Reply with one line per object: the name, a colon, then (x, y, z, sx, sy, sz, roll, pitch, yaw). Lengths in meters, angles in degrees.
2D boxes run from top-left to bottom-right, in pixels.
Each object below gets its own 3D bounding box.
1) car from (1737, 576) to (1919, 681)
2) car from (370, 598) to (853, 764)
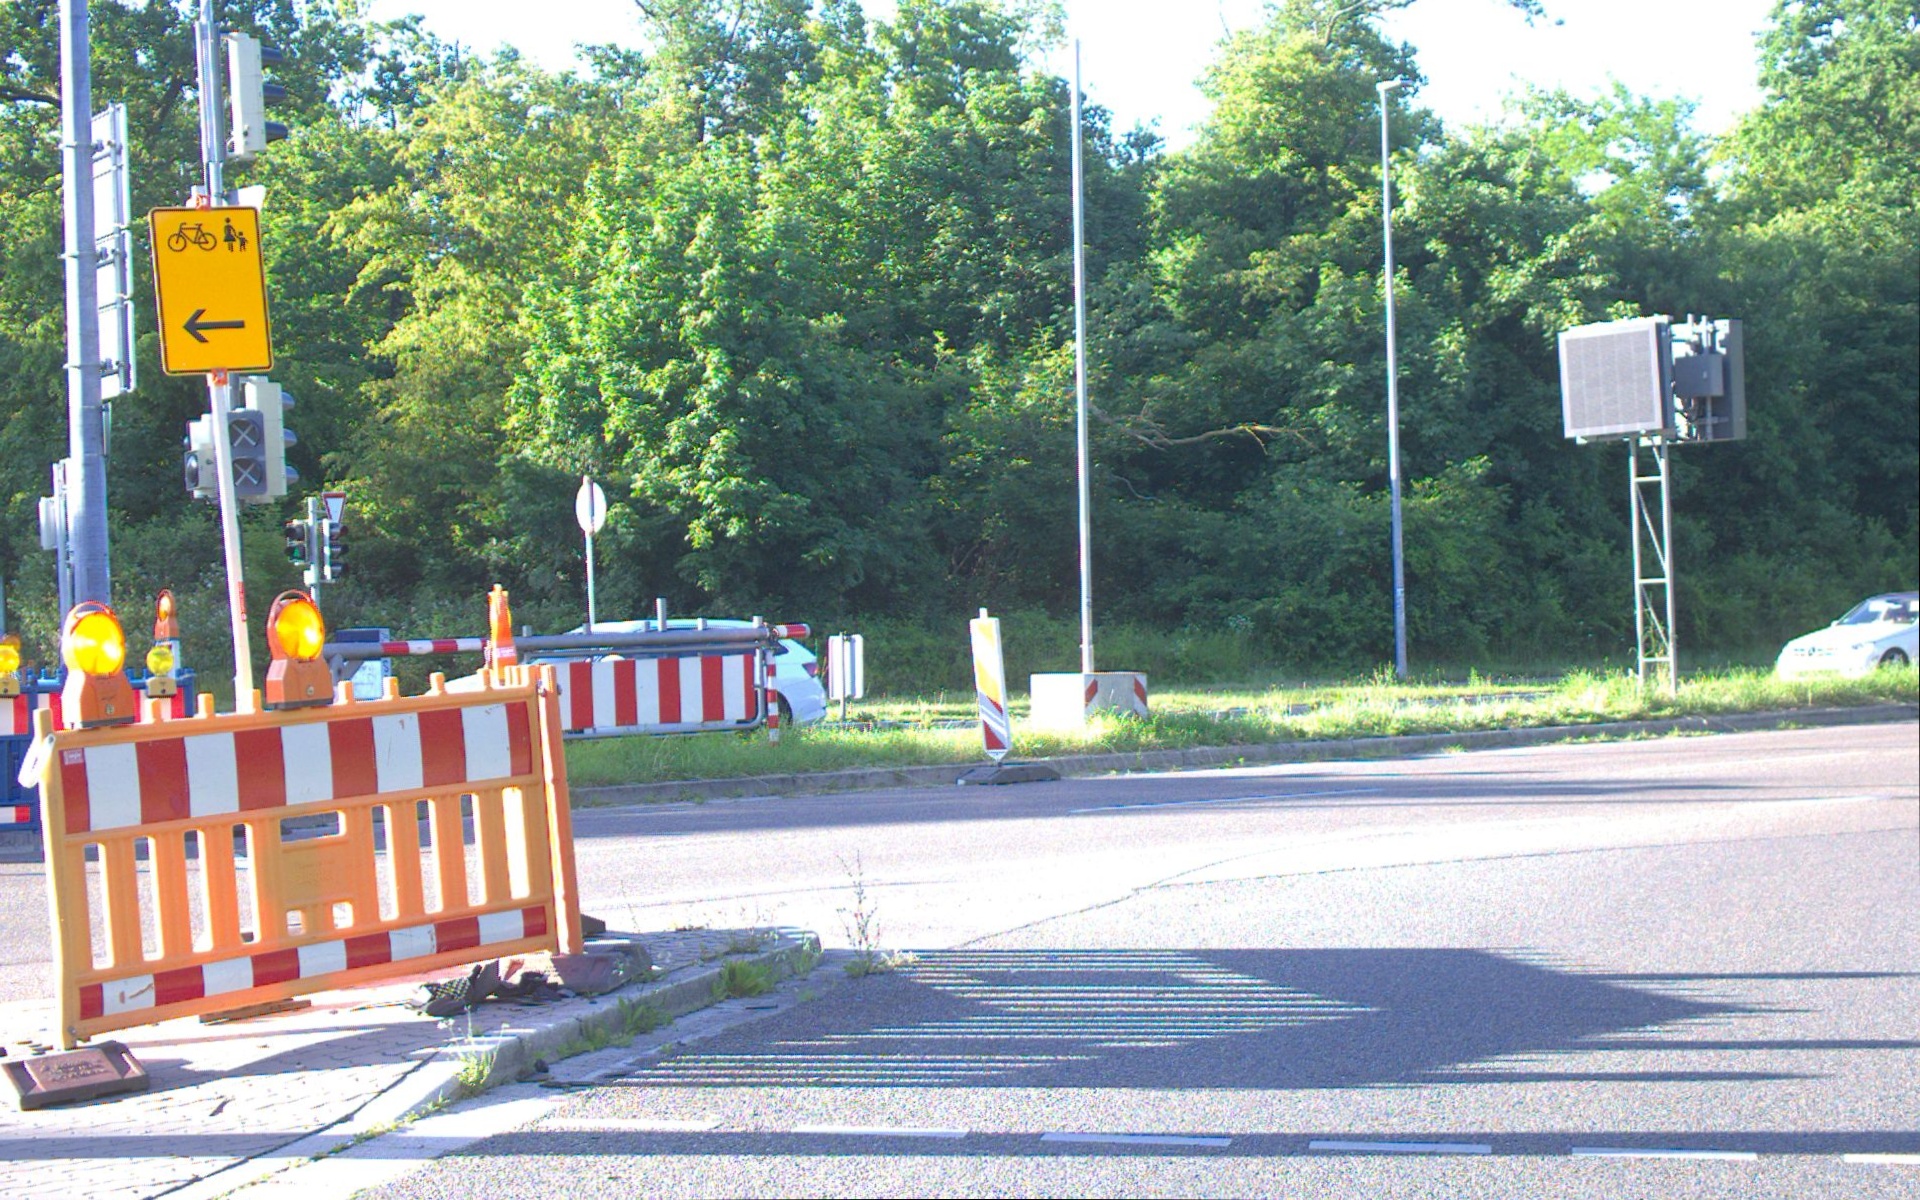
car: (13.691, 0.384, 50.164, 4.793, 1.431, 1.999, -2, 0, -38)
car: (-3.688, 0.838, 36.907, 4.819, 1.575, 1.999, -2, 0, -39)
